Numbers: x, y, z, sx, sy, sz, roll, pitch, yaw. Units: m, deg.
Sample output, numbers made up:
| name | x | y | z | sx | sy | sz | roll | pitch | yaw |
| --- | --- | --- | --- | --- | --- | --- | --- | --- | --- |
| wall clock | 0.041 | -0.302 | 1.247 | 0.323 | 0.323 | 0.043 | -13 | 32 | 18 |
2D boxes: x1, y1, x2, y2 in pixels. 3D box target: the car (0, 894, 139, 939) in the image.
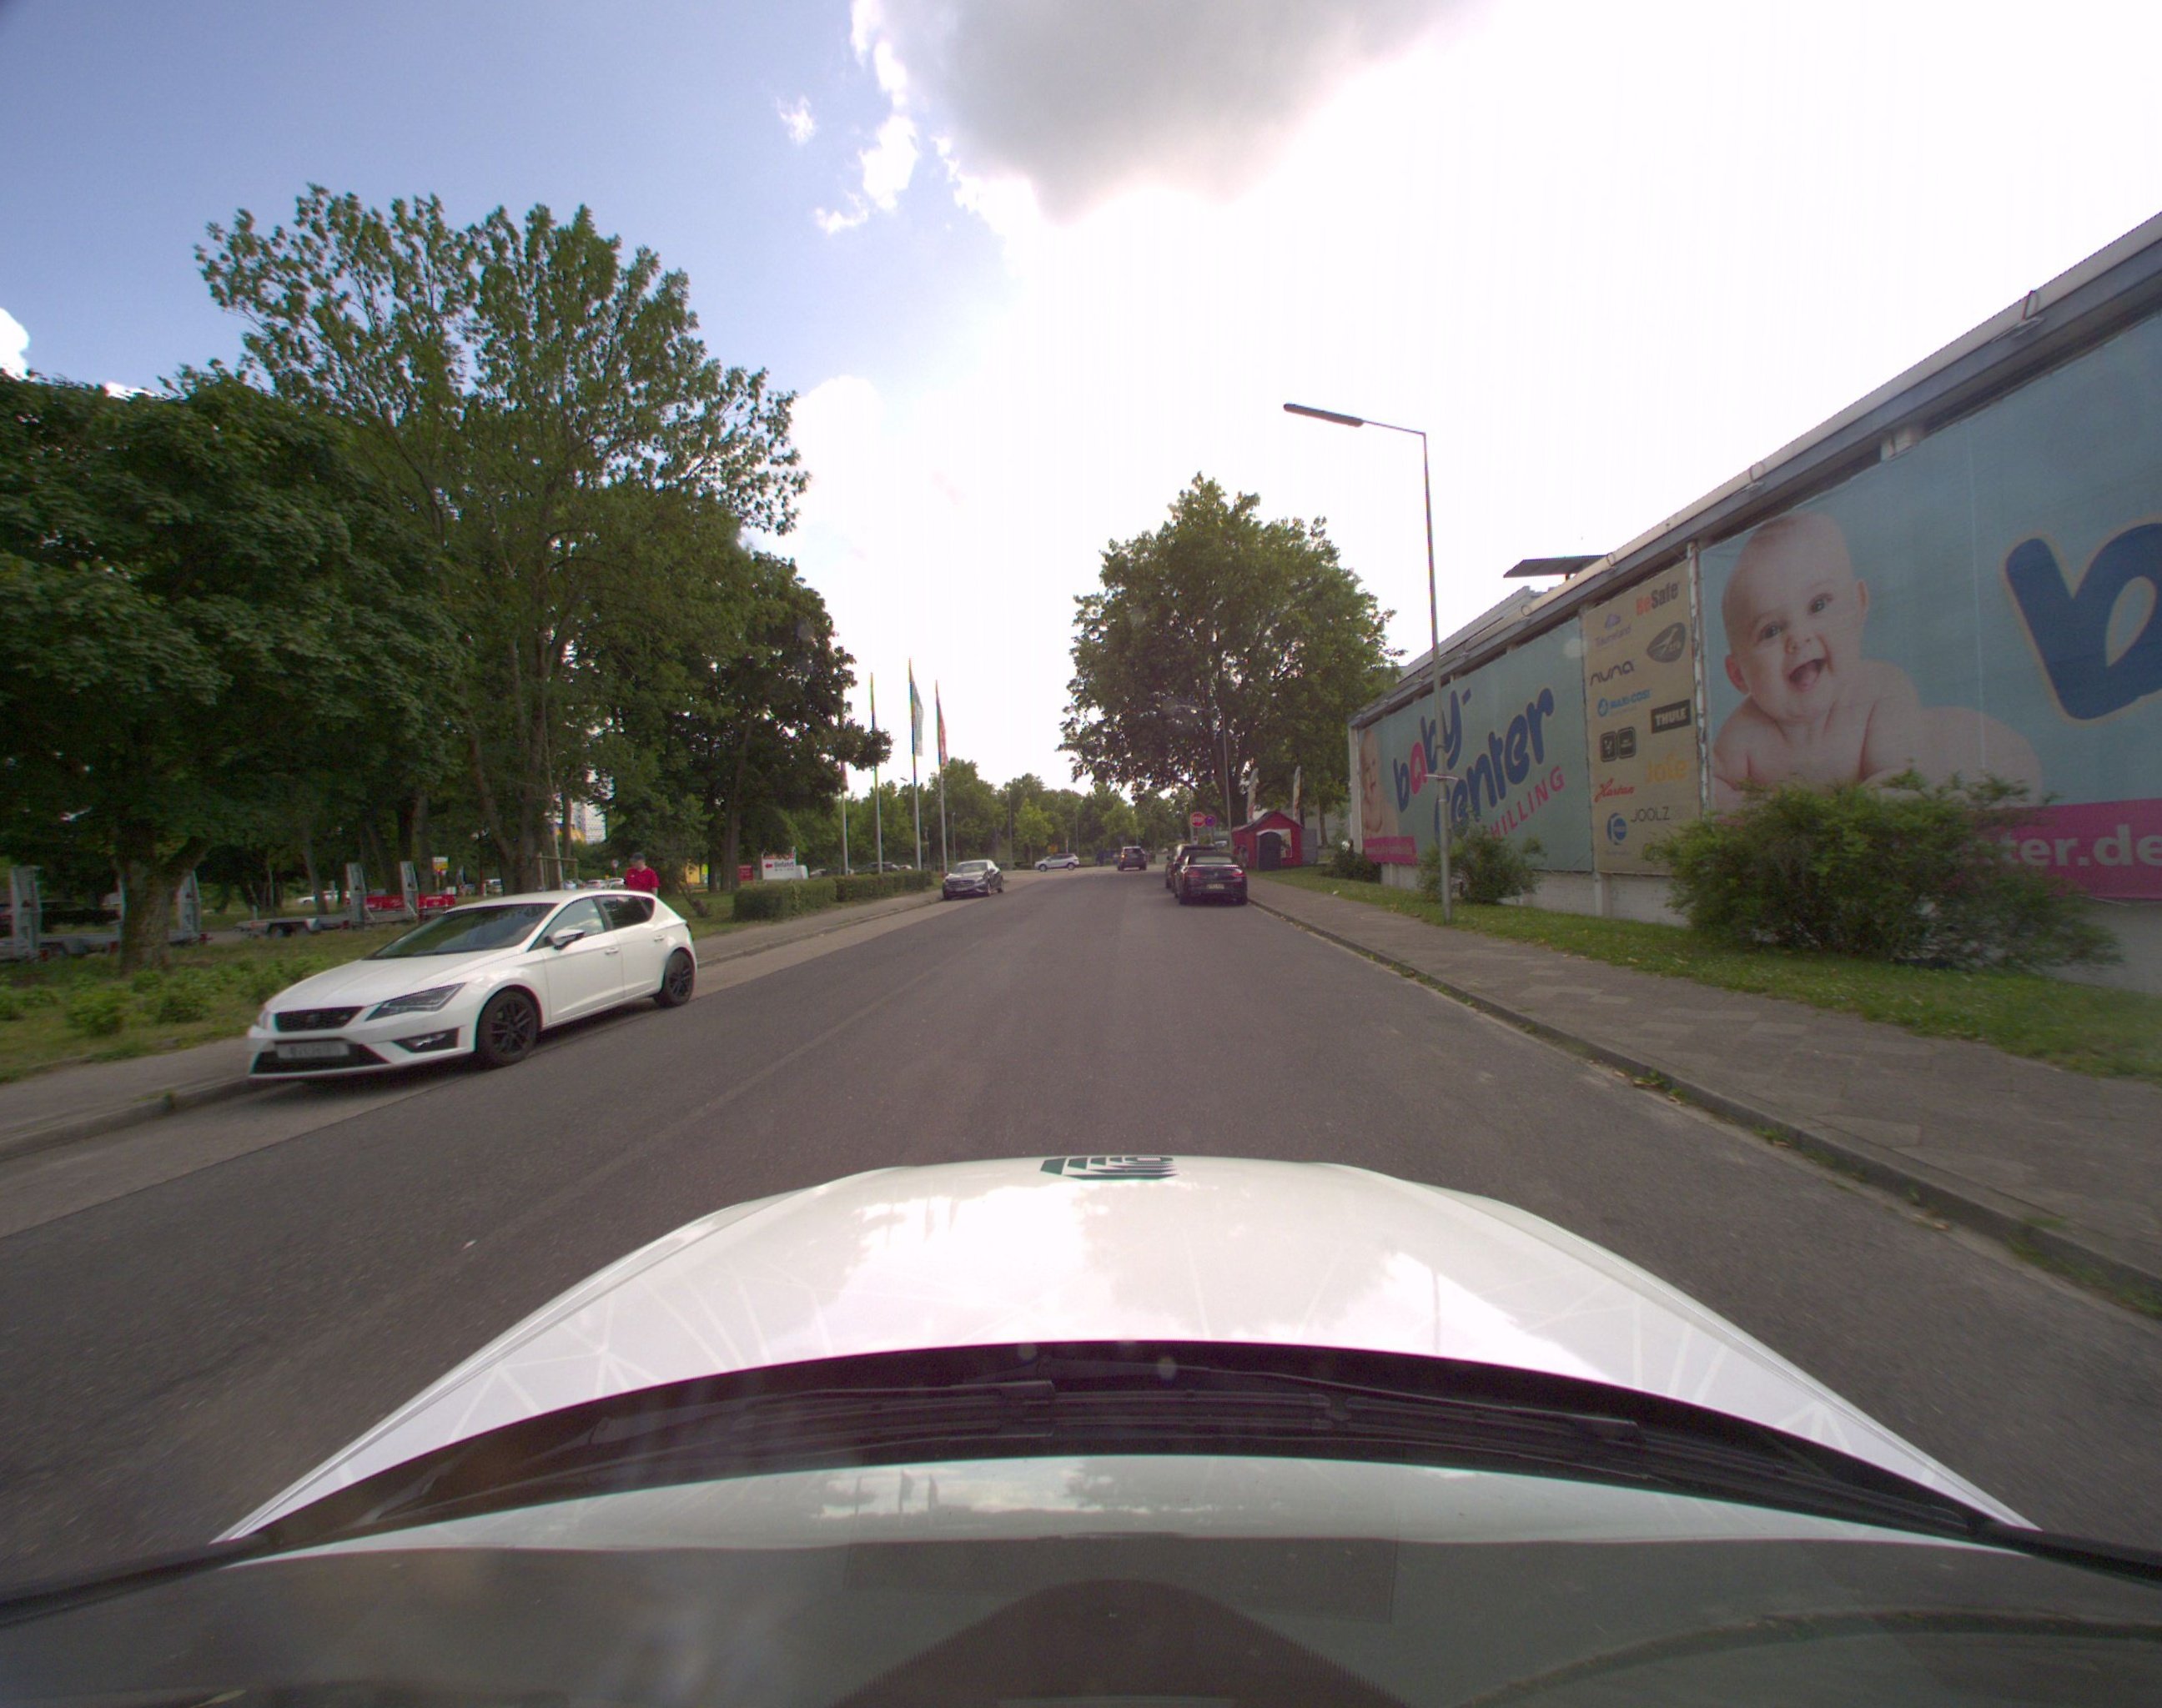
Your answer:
| name | x | y | z | sx | sy | sz | roll | pitch | yaw |
| --- | --- | --- | --- | --- | --- | --- | --- | --- | --- |
| car | -41.315 | 2.500 | 32.749 | 1.561 | 1.511 | 4.361 | -3 | 0 | 3 |

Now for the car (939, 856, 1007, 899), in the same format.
| name | x | y | z | sx | sy | sz | roll | pitch | yaw |
| --- | --- | --- | --- | --- | --- | --- | --- | --- | --- |
| car | -4.240 | 0.882 | 32.613 | 1.701 | 1.420 | 4.337 | -6 | 0 | 5 |

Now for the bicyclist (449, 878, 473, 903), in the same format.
| name | x | y | z | sx | sy | sz | roll | pitch | yaw |
| --- | --- | --- | --- | --- | --- | --- | --- | --- | --- |
| bicyclist | -44.101 | 2.575 | 57.934 | 1.004 | 1.647 | 0.733 | -4 | 1 | -2 |

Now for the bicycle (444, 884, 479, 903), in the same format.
| name | x | y | z | sx | sy | sz | roll | pitch | yaw |
| --- | --- | --- | --- | --- | --- | --- | --- | --- | --- |
| bicycle | -44.058 | 2.798 | 57.947 | 1.804 | 1.166 | 0.730 | -4 | 1 | -2 |

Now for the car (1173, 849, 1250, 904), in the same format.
| name | x | y | z | sx | sy | sz | roll | pitch | yaw |
| --- | --- | --- | --- | --- | --- | --- | --- | --- | --- |
| car | 3.560 | 0.559 | 22.946 | 1.799 | 1.391 | 4.594 | 0 | 0 | 5 |

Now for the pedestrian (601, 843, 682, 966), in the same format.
| name | x | y | z | sx | sy | sz | roll | pitch | yaw |
| --- | --- | --- | --- | --- | --- | --- | --- | --- | --- |
| pedestrian | -7.553 | 0.848 | 14.036 | 0.806 | 2.013 | 0.886 | -3 | 0 | 3 |

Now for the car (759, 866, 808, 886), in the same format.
| name | x | y | z | sx | sy | sz | roll | pitch | yaw |
| --- | --- | --- | --- | --- | --- | --- | --- | --- | --- |
| car | -36.453 | 2.670 | 99.820 | 5.269 | 2.211 | 1.797 | -3 | 0 | 0 |

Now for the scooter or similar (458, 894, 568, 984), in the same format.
| name | x | y | z | sx | sy | sz | roll | pitch | yaw |
| --- | --- | --- | --- | --- | --- | --- | --- | --- | --- |
| scooter or similar | -8.408 | 1.234 | 12.106 | 0.513 | 1.193 | 1.285 | -2 | 0 | 15 |

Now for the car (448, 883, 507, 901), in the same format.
| name | x | y | z | sx | sy | sz | roll | pitch | yaw |
| --- | --- | --- | --- | --- | --- | --- | --- | --- | --- |
| car | -55.713 | 3.495 | 75.226 | 4.003 | 1.406 | 1.798 | -3 | 0 | 1 |

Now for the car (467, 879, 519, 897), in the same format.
| name | x | y | z | sx | sy | sz | roll | pitch | yaw |
| --- | --- | --- | --- | --- | --- | --- | --- | --- | --- |
| car | -64.833 | 3.767 | 89.863 | 1.974 | 1.684 | 4.289 | -3 | 0 | 40 |

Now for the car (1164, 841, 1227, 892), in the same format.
| name | x | y | z | sx | sy | sz | roll | pitch | yaw |
| --- | --- | --- | --- | --- | --- | --- | --- | --- | --- |
| car | 4.027 | 0.388 | 29.262 | 1.801 | 1.665 | 4.643 | 0 | 0 | 2 |

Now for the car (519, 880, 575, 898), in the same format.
| name | x | y | z | sx | sy | sz | roll | pitch | yaw |
| --- | --- | --- | --- | --- | --- | --- | --- | --- | --- |
| car | -49.483 | 3.214 | 75.518 | 4.003 | 1.406 | 1.798 | -3 | 0 | 1 |

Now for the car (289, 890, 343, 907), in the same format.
| name | x | y | z | sx | sy | sz | roll | pitch | yaw |
| --- | --- | --- | --- | --- | --- | --- | --- | --- | --- |
| car | -81.769 | 4.752 | 87.065 | 1.850 | 1.503 | 3.935 | -3 | 0 | 36 |

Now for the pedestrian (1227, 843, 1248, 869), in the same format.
| name | x | y | z | sx | sy | sz | roll | pitch | yaw |
| --- | --- | --- | --- | --- | --- | --- | --- | --- | --- |
| pedestrian | 8.412 | 0.110 | 43.746 | 1.007 | 1.314 | 0.968 | -3 | 0 | 11 |

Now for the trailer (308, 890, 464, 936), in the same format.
| name | x | y | z | sx | sy | sz | roll | pitch | yaw |
| --- | --- | --- | --- | --- | --- | --- | --- | --- | --- |
| trailer | -22.470 | 1.894 | 26.402 | 3.794 | 1.190 | 1.719 | -3 | 1 | 9 |

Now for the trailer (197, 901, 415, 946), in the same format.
| name | x | y | z | sx | sy | sz | roll | pitch | yaw |
| --- | --- | --- | --- | --- | --- | --- | --- | --- | --- |
| trailer | -22.518 | 2.012 | 23.765 | 4.568 | 0.912 | 2.193 | -3 | 1 | 8 |

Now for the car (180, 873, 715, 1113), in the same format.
| name | x | y | z | sx | sy | sz | roll | pitch | yaw |
| --- | --- | --- | --- | --- | --- | --- | --- | --- | --- |
| car | -5.611 | 1.075 | 8.101 | 1.758 | 1.479 | 4.238 | -5 | 0 | 2 |

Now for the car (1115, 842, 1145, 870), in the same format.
| name | x | y | z | sx | sy | sz | roll | pitch | yaw |
| --- | --- | --- | --- | --- | --- | --- | --- | --- | --- |
| car | 3.543 | 0.117 | 58.980 | 1.955 | 1.815 | 4.277 | -3 | 0 | 2 |

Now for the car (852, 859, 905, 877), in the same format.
| name | x | y | z | sx | sy | sz | roll | pitch | yaw |
| --- | --- | --- | --- | --- | --- | --- | --- | --- | --- |
| car | -18.502 | 1.310 | 74.580 | 4.205 | 1.406 | 1.924 | -3 | 0 | 1 |

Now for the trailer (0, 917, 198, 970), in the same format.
| name | x | y | z | sx | sy | sz | roll | pitch | yaw |
| --- | --- | --- | --- | --- | --- | --- | --- | --- | --- |
| trailer | -22.597 | 1.982 | 17.873 | 4.219 | 0.913 | 2.023 | -3 | -2 | 1 |

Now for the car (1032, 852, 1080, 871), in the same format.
| name | x | y | z | sx | sy | sz | roll | pitch | yaw |
| --- | --- | --- | --- | --- | --- | --- | --- | --- | --- |
| car | -2.225 | 0.680 | 74.634 | 4.205 | 1.579 | 1.924 | -3 | 0 | 1 |

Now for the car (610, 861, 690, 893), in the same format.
| name | x | y | z | sx | sy | sz | roll | pitch | yaw |
| --- | --- | --- | --- | --- | --- | --- | --- | --- | --- |
| car | -39.931 | 2.099 | 75.502 | 6.343 | 2.578 | 2.212 | -3 | 0 | 10 |

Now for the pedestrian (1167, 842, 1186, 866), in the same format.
| name | x | y | z | sx | sy | sz | roll | pitch | yaw |
| --- | --- | --- | --- | --- | --- | --- | --- | --- | --- |
| pedestrian | 7.402 | 0.005 | 63.247 | 1.002 | 1.849 | 1.223 | -2 | 0 | -14 |

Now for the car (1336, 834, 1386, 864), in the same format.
| name | x | y | z | sx | sy | sz | roll | pitch | yaw |
| --- | --- | --- | --- | --- | --- | --- | --- | --- | --- |
| car | 15.348 | -0.288 | 44.791 | 1.730 | 1.512 | 4.008 | -3 | 0 | 7 |
